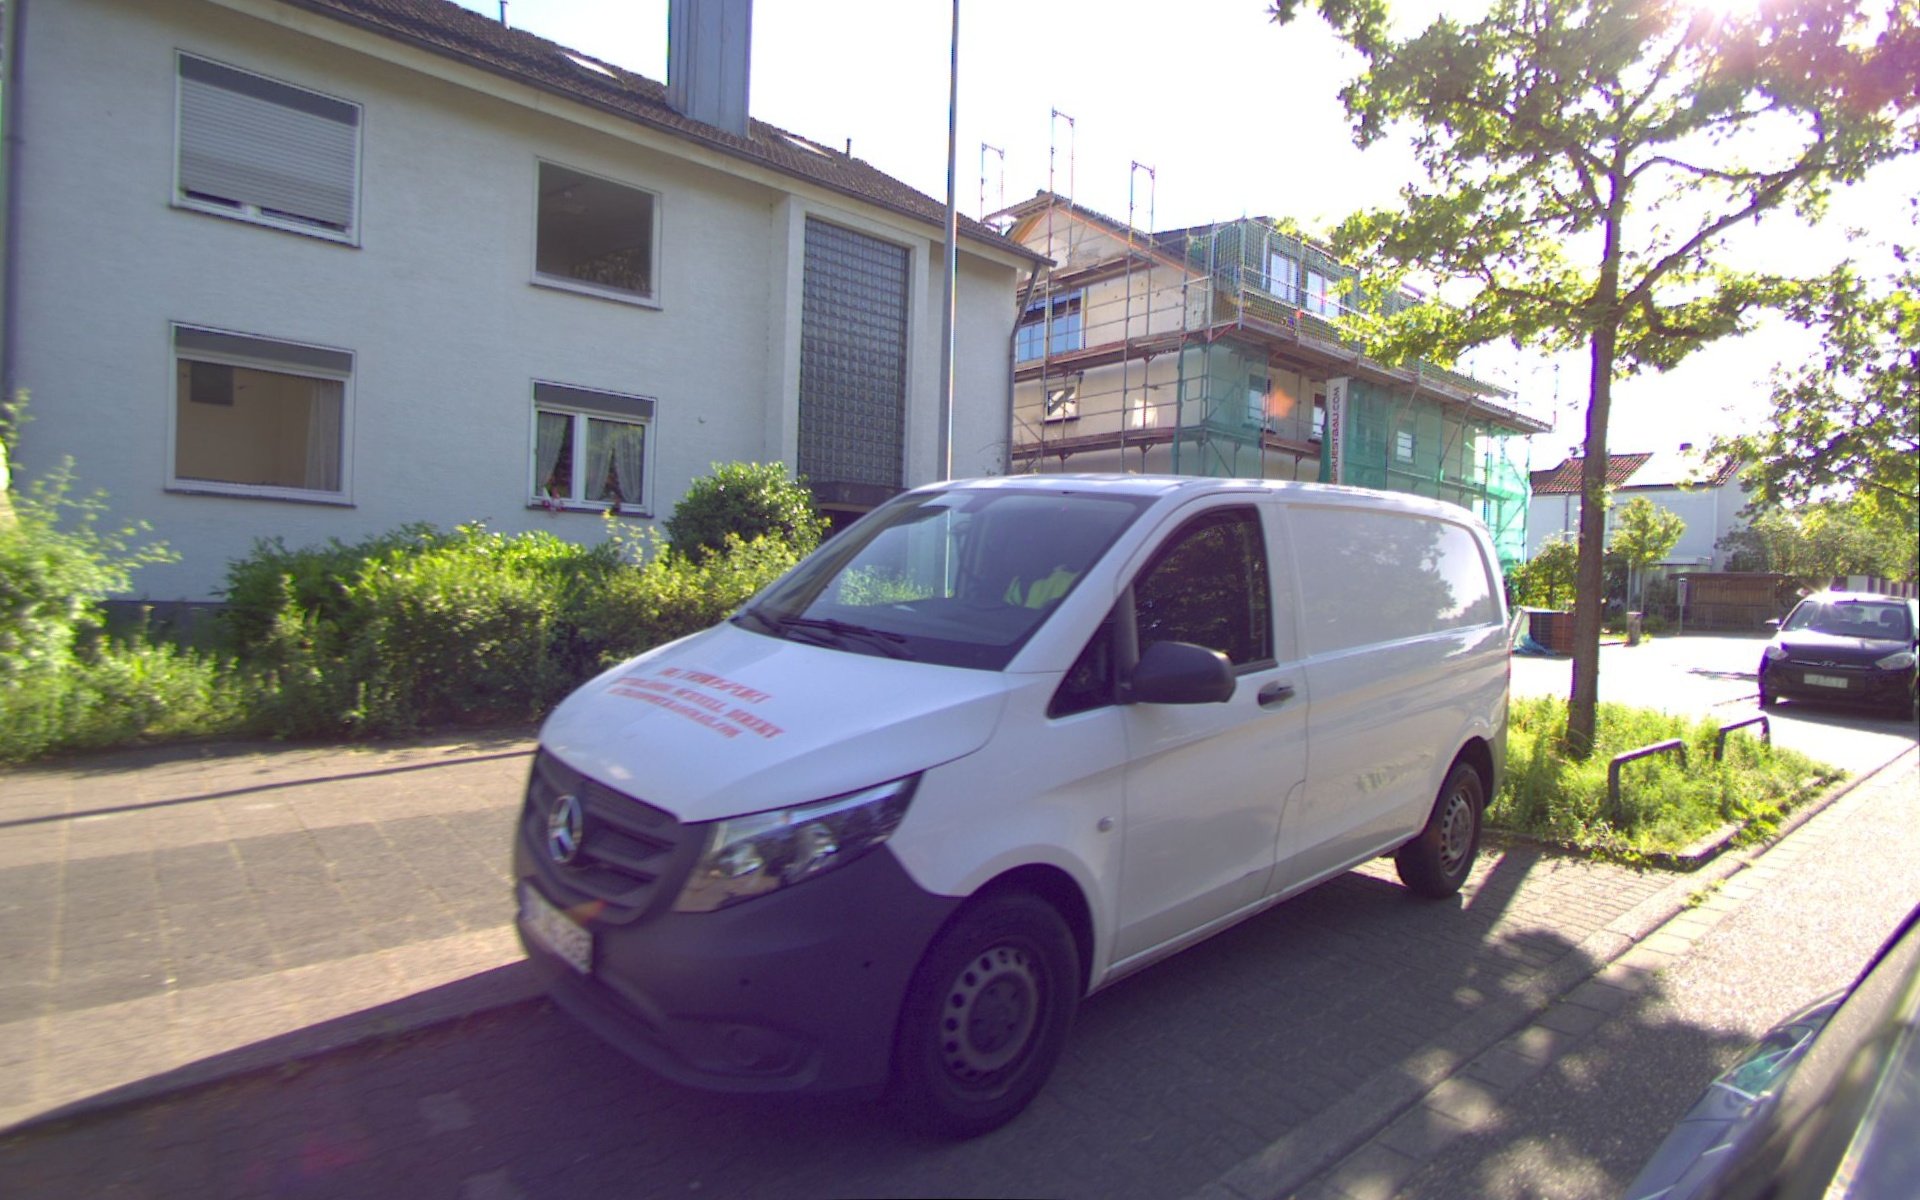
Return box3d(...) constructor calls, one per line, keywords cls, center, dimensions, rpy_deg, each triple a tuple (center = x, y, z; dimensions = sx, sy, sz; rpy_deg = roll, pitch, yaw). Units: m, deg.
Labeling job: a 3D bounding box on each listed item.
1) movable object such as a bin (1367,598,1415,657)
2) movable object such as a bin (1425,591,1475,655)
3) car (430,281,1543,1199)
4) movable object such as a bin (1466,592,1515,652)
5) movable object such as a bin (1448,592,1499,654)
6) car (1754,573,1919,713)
box3d(cls="movable object such as a bin", center=(7.135, 0.445, 16.757), dimensions=(0.539, 0.944, 0.530), rpy_deg=(0, 1, -40))
box3d(cls="movable object such as a bin", center=(8.630, 0.397, 17.832), dimensions=(0.557, 1.082, 0.605), rpy_deg=(0, 1, -40))
box3d(cls="car", center=(0.589, 0.340, 4.243), dimensions=(4.677, 1.995, 1.838), rpy_deg=(0, 2, -42))
box3d(cls="movable object such as a bin", center=(9.996, 0.407, 19.084), dimensions=(0.635, 1.082, 0.605), rpy_deg=(0, 1, -40))
box3d(cls="movable object such as a bin", center=(9.329, 0.409, 18.376), dimensions=(0.635, 1.082, 0.605), rpy_deg=(0, 1, -40))
box3d(cls="car", center=(12.465, 0.503, 13.895), dimensions=(3.685, 1.598, 1.677), rpy_deg=(0, 3, -40))
